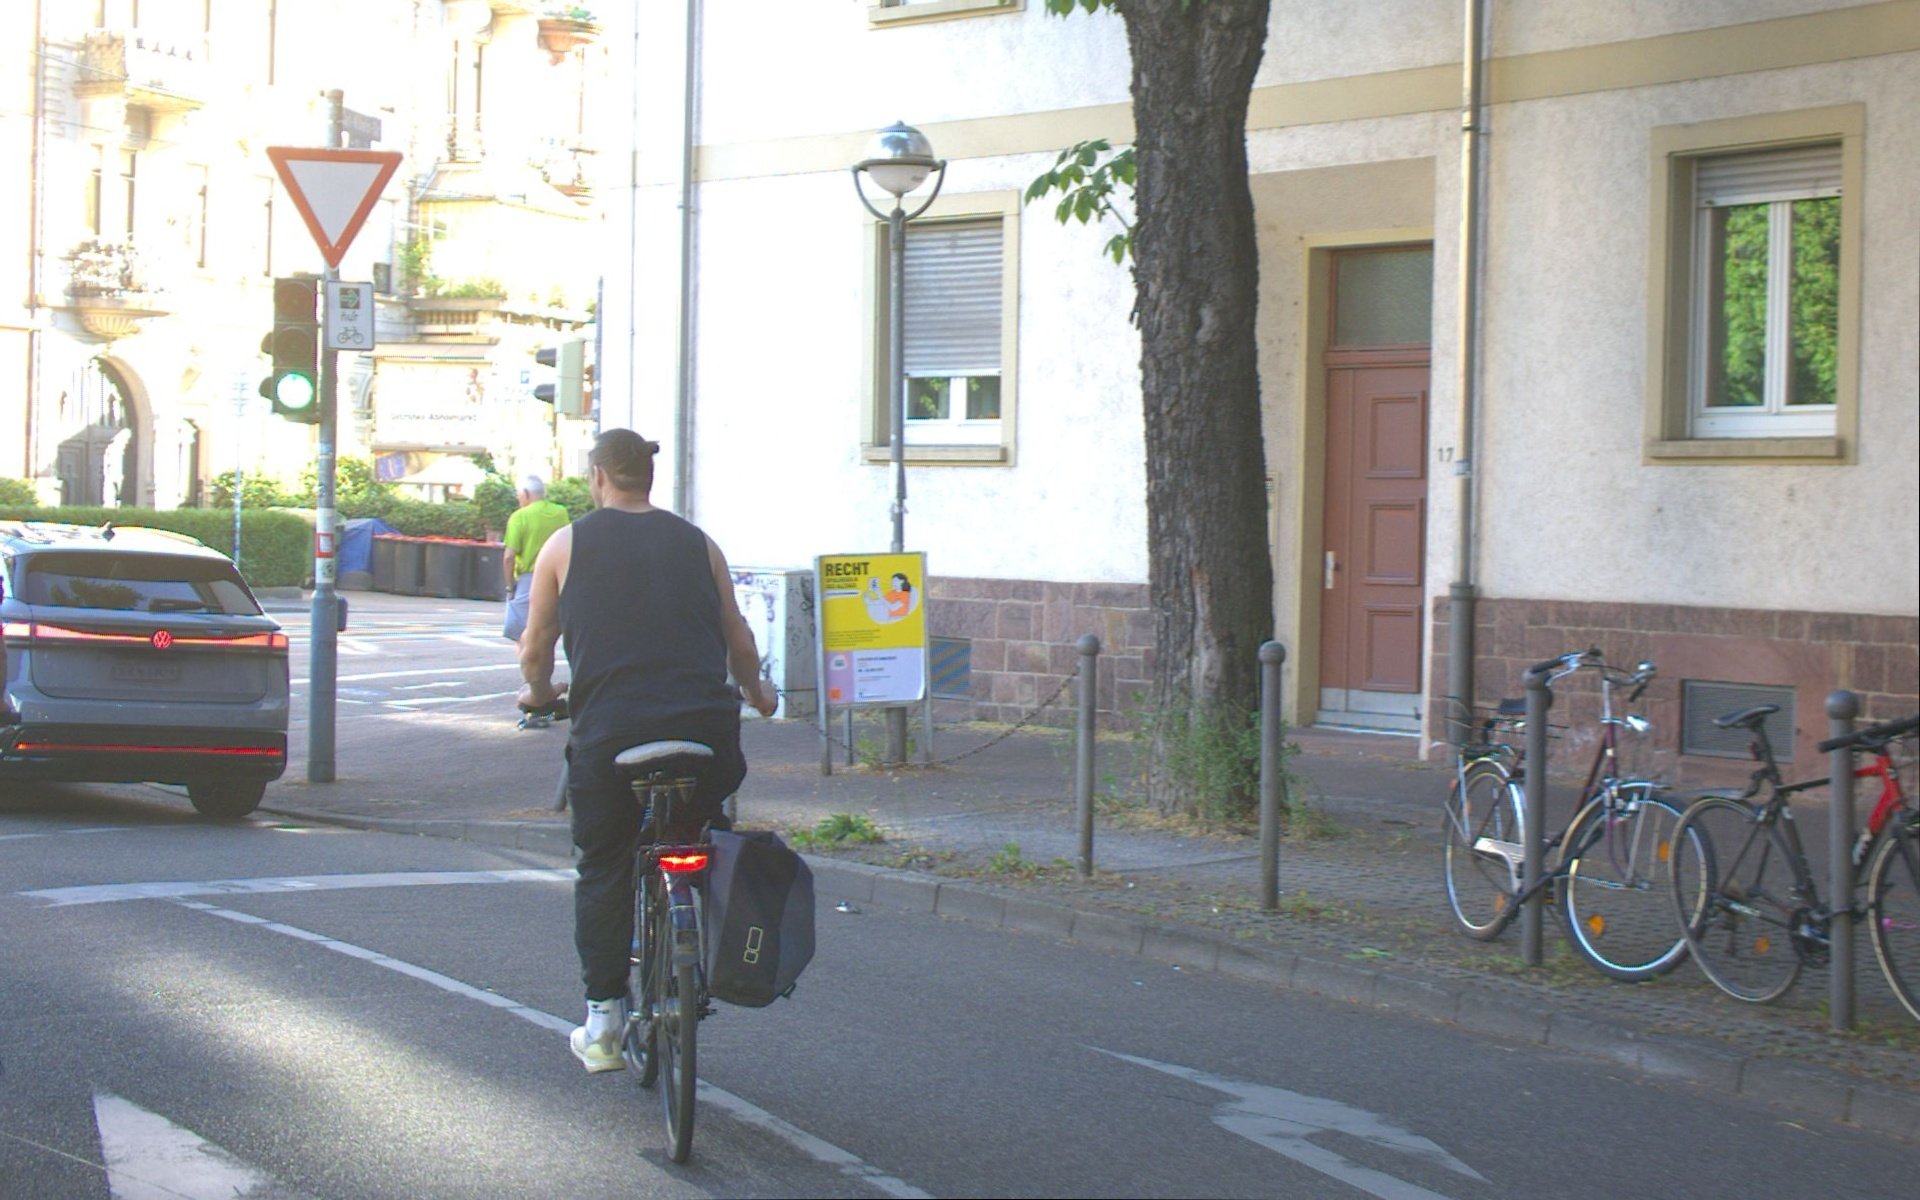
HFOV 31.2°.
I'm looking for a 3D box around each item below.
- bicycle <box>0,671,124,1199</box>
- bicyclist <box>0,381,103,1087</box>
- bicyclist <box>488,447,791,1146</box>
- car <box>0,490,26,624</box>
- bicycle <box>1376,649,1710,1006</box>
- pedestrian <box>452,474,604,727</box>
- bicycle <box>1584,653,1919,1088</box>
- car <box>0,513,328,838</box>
[{"bbox_3d":[-2.518,0.747,8.035,0.717,1.103,1.967,1,1,-24],"label":"bicycle"},{"bbox_3d":[-2.462,0.281,7.997,0.706,1.568,0.957,1,1,-24],"label":"bicyclist"},{"bbox_3d":[-0.825,0.454,8.648,0.686,1.650,0.990,0,1,-9],"label":"bicyclist"},{"bbox_3d":[-13.311,-0.548,40.826,1.944,1.644,4.405,2,1,23],"label":"car"},{"bbox_3d":[2.000,0.751,11.993,0.480,1.060,1.636,-1,3,-16],"label":"bicycle"},{"bbox_3d":[-3.034,-0.013,24.107,0.643,1.721,0.888,-3,3,-41],"label":"pedestrian"},{"bbox_3d":[2.550,0.764,10.426,0.526,1.103,1.741,-2,2,-18],"label":"bicycle"},{"bbox_3d":[-5.366,0.314,19.140,1.970,1.580,4.475,3,0,-33],"label":"car"}]
